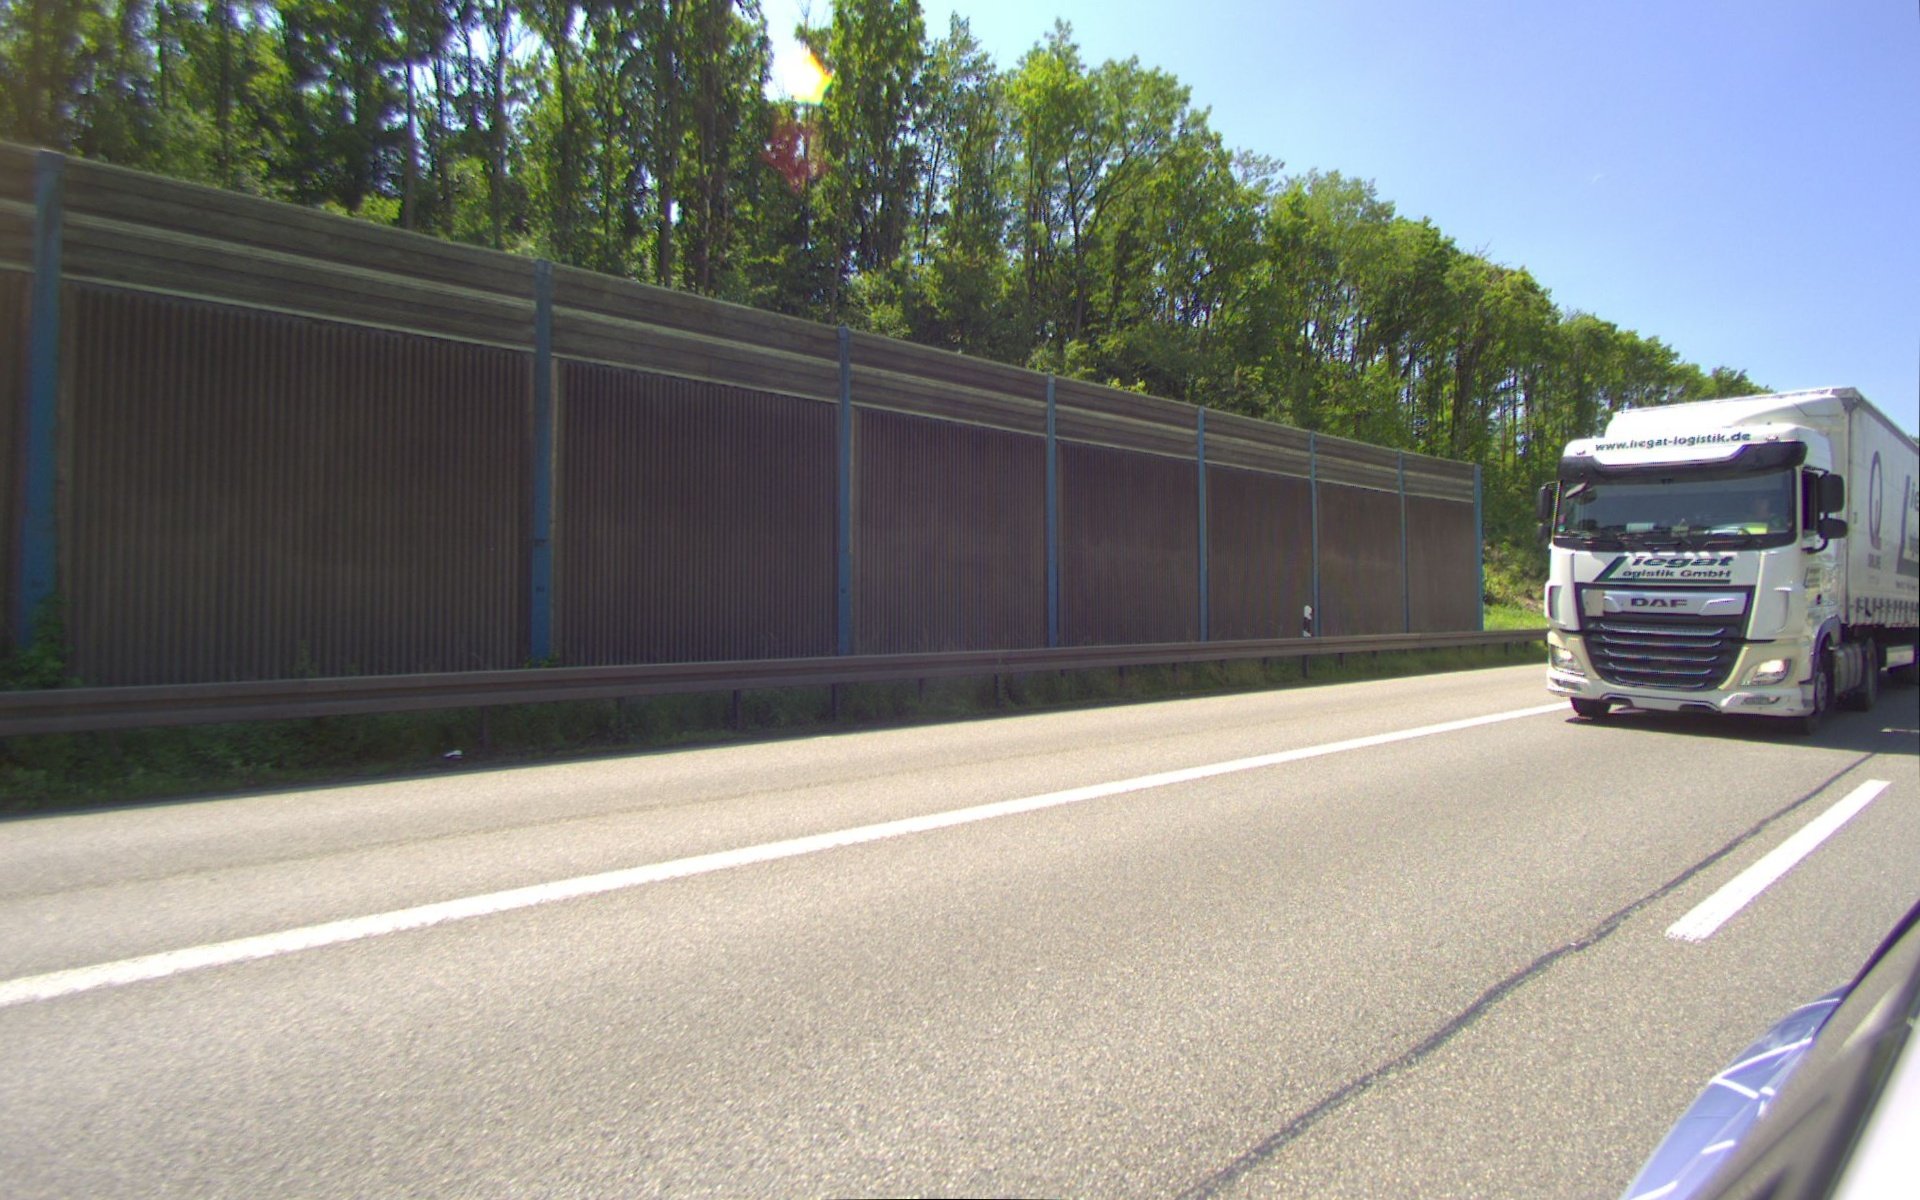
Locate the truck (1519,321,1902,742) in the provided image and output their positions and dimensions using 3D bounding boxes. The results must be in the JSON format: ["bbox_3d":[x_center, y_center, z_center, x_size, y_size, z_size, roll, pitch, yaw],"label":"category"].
[{"bbox_3d":[9.930,-0.680,13.181,5.765,4.258,2.791,1,0,-40],"label":"truck"}]

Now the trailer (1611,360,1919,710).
[{"bbox_3d":[15.117,-0.749,17.601,13.008,4.258,2.791,1,0,-41],"label":"trailer"}]
